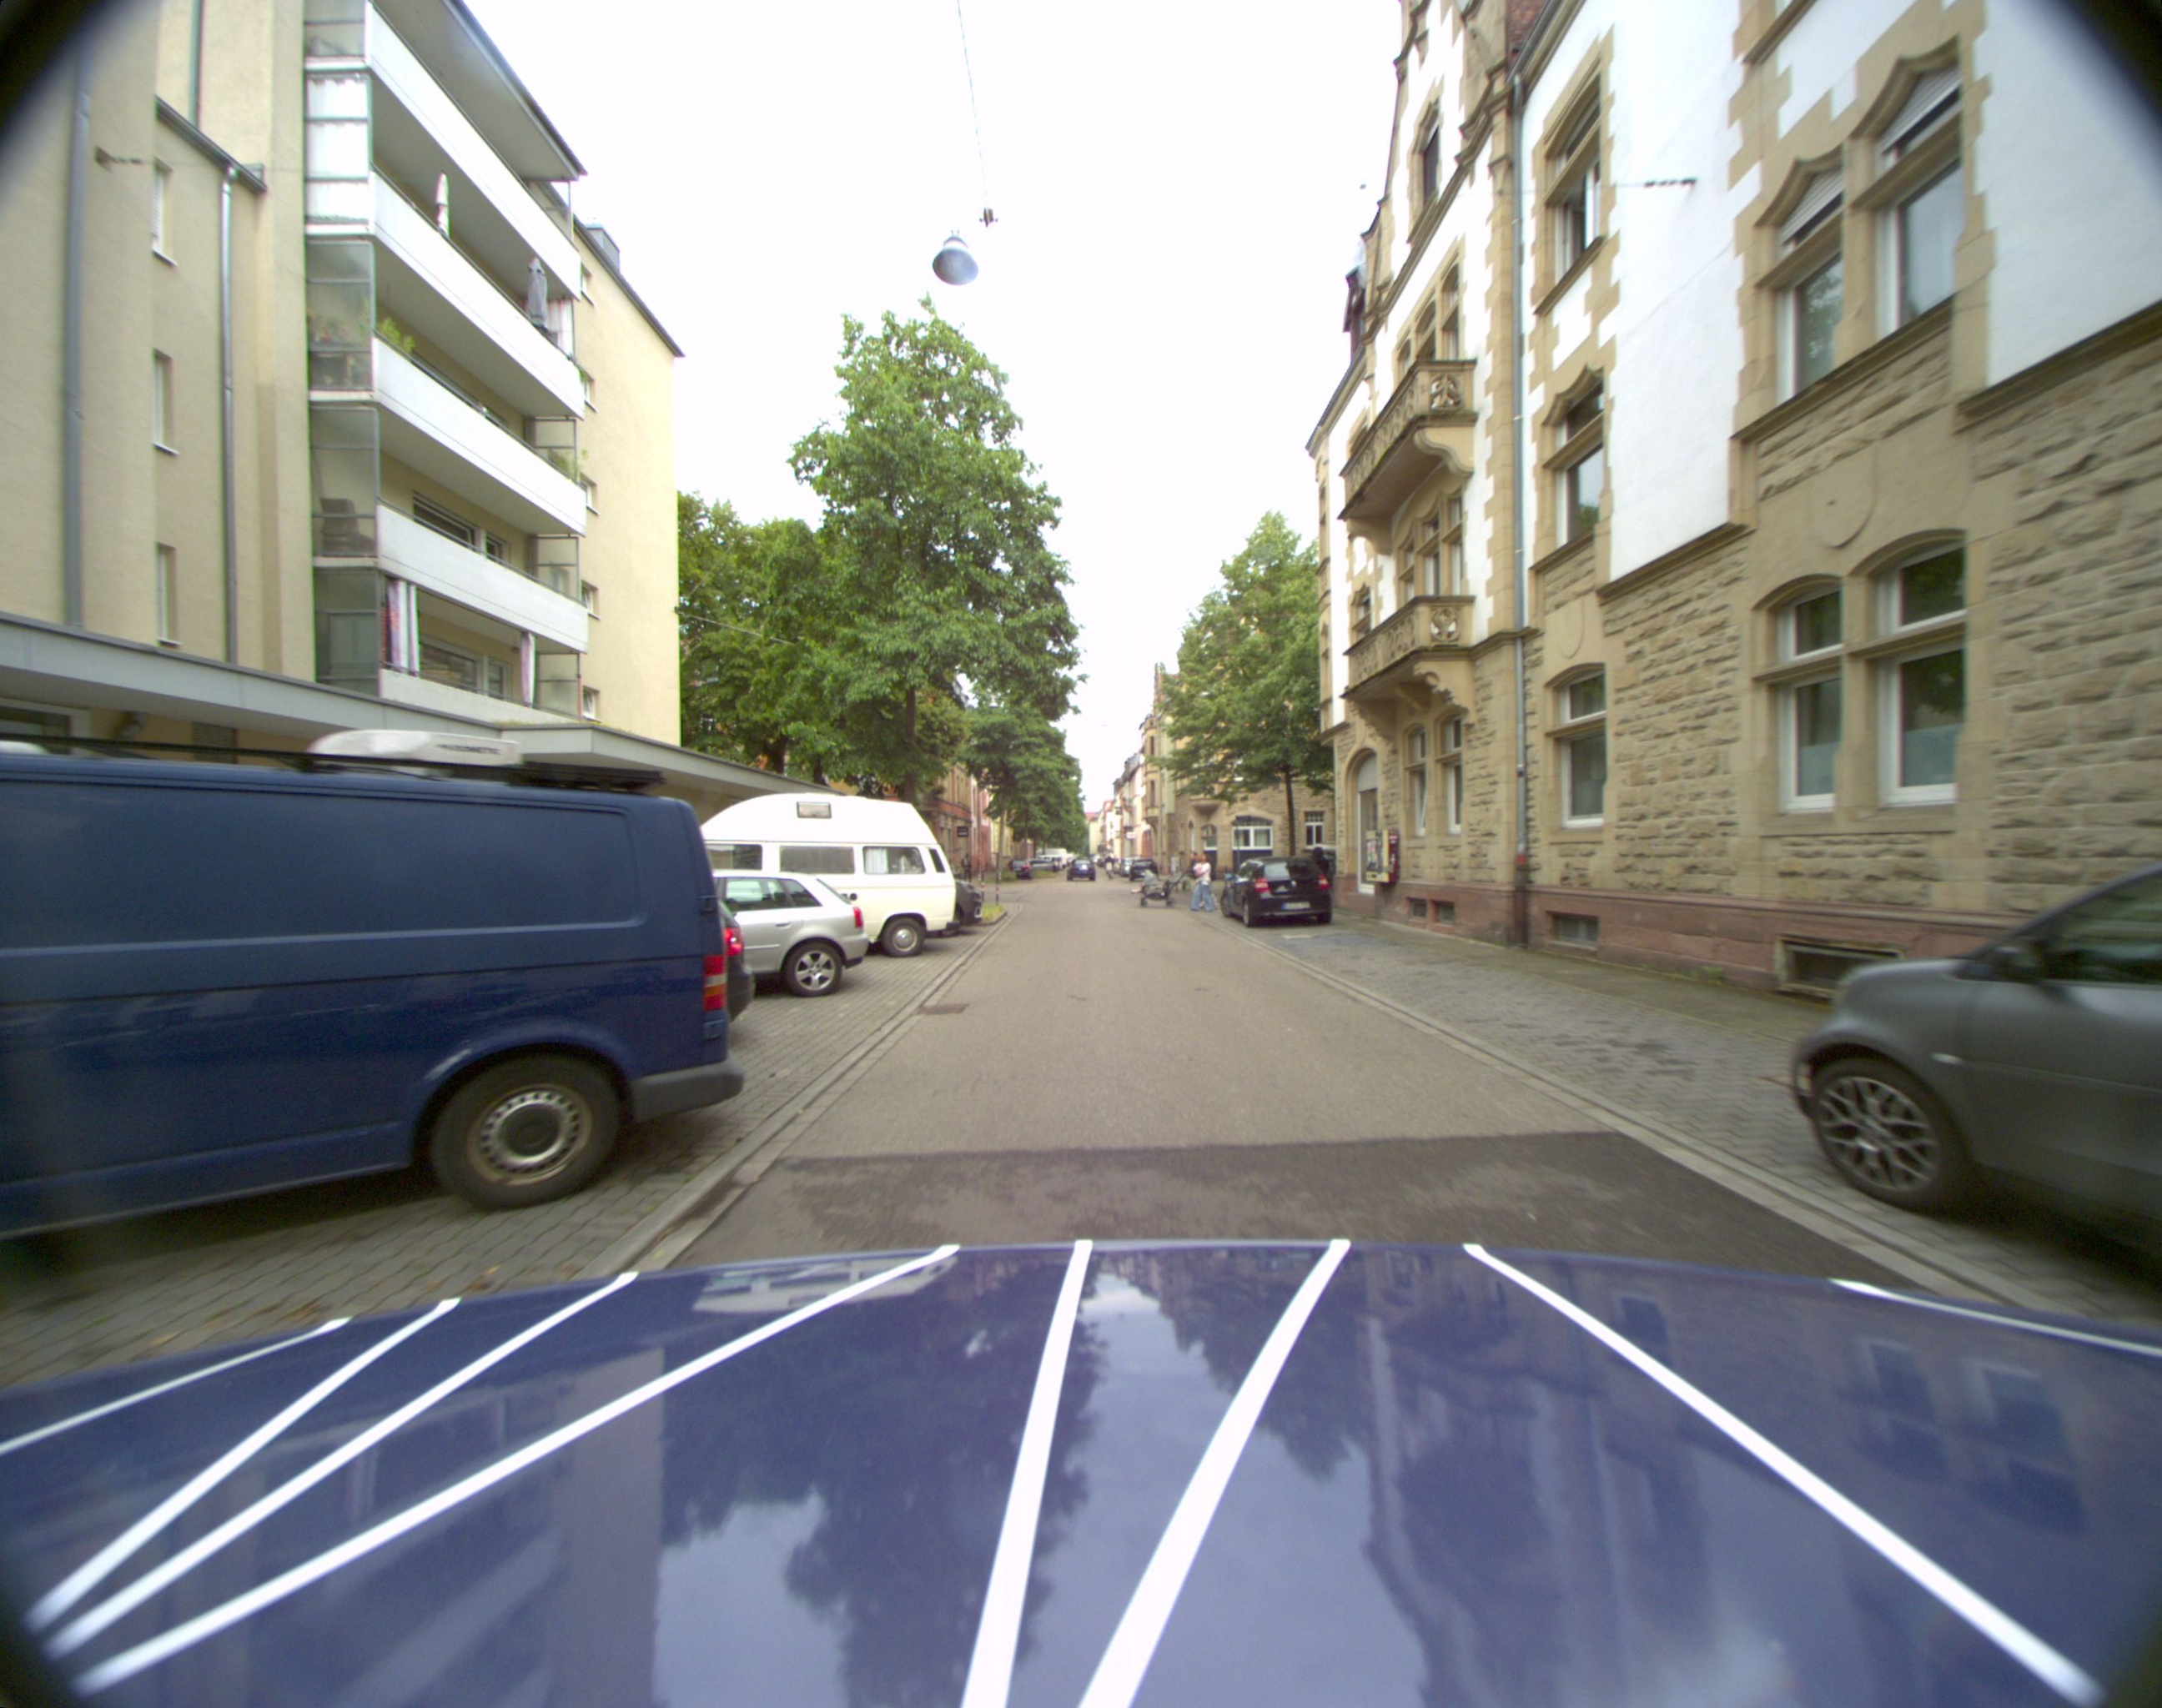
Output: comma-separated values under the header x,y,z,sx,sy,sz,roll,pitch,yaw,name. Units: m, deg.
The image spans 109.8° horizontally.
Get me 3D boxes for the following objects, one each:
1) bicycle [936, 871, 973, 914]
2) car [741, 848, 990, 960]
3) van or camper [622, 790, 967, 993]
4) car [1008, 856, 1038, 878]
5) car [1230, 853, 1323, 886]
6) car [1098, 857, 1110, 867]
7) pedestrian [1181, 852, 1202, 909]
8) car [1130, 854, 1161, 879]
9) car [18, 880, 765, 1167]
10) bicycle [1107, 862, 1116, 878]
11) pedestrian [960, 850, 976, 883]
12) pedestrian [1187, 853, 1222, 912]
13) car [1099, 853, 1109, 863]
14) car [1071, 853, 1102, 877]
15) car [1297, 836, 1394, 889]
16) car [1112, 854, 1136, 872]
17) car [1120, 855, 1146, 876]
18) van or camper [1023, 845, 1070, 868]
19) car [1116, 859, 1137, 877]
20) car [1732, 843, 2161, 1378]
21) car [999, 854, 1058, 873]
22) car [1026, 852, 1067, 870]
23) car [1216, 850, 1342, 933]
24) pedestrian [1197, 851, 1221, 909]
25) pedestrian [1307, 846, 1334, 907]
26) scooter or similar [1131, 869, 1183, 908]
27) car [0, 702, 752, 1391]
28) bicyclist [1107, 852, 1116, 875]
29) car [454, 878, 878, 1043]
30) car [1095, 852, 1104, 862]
x,y,z,sx,sy,sz,roll,pitch,yaw,name
-3.539,1.052,21.132,0.608,1.088,1.782,-1,0,-22,bicycle
-4.170,0.852,14.712,4.351,1.843,1.907,-1,0,-25,car
-4.304,0.440,11.681,4.604,2.581,1.906,-2,1,-32,van or camper
-4.130,0.874,54.315,1.768,1.477,4.479,1,0,0,car
9.627,0.769,37.702,4.280,1.459,1.662,0,4,7,car
3.357,1.125,111.160,1.610,1.463,3.342,-1,0,-1,car
3.265,0.765,22.391,0.528,1.634,0.529,-2,1,12,pedestrian
4.036,0.764,47.955,1.731,1.425,3.882,-2,0,2,car
-4.509,0.961,5.718,3.675,1.471,1.684,2,-1,-33,car
2.069,1.079,51.430,0.635,1.087,1.800,0,-1,2,bicycle
-6.302,0.701,42.383,0.781,1.786,0.509,-2,1,2,pedestrian
3.365,0.768,20.732,0.630,1.584,0.671,-1,1,41,pedestrian
3.583,0.635,117.550,1.457,1.401,3.811,-2,0,1,car
0.317,0.734,47.725,1.713,1.404,3.853,0,-2,-3,car
10.486,0.319,30.438,1.834,1.956,3.957,-1,0,-13,car
3.822,0.790,67.714,1.671,1.502,3.552,-1,0,-4,car
3.954,0.858,57.819,1.593,1.425,3.809,-2,0,-1,car
-4.095,0.313,90.520,5.077,2.576,2.069,-1,1,-30,van or camper
3.760,1.151,62.773,1.521,1.425,3.456,-2,0,0,car
4.018,0.748,2.204,1.651,1.561,2.957,-2,-1,-1,car
-4.200,0.788,61.410,4.453,1.419,1.754,1,0,-34,car
-3.645,0.776,80.380,3.993,1.801,1.721,-1,0,11,car
4.169,0.727,16.652,1.713,1.486,4.000,-4,0,1,car
3.638,0.731,21.545,0.617,1.634,0.604,-1,1,12,pedestrian
6.011,0.566,19.087,0.516,1.509,0.546,-1,1,0,pedestrian
2.274,1.020,22.579,1.471,1.098,0.676,1,1,12,scooter or similar
-4.148,0.609,3.145,4.716,2.183,2.061,2,-1,-38,car
2.067,0.632,51.269,0.649,1.529,0.677,0,1,2,bicyclist
-4.443,1.003,8.493,3.825,1.409,1.720,2,-1,-36,car
4.336,0.697,176.230,2.052,2.071,3.811,-2,0,1,car
